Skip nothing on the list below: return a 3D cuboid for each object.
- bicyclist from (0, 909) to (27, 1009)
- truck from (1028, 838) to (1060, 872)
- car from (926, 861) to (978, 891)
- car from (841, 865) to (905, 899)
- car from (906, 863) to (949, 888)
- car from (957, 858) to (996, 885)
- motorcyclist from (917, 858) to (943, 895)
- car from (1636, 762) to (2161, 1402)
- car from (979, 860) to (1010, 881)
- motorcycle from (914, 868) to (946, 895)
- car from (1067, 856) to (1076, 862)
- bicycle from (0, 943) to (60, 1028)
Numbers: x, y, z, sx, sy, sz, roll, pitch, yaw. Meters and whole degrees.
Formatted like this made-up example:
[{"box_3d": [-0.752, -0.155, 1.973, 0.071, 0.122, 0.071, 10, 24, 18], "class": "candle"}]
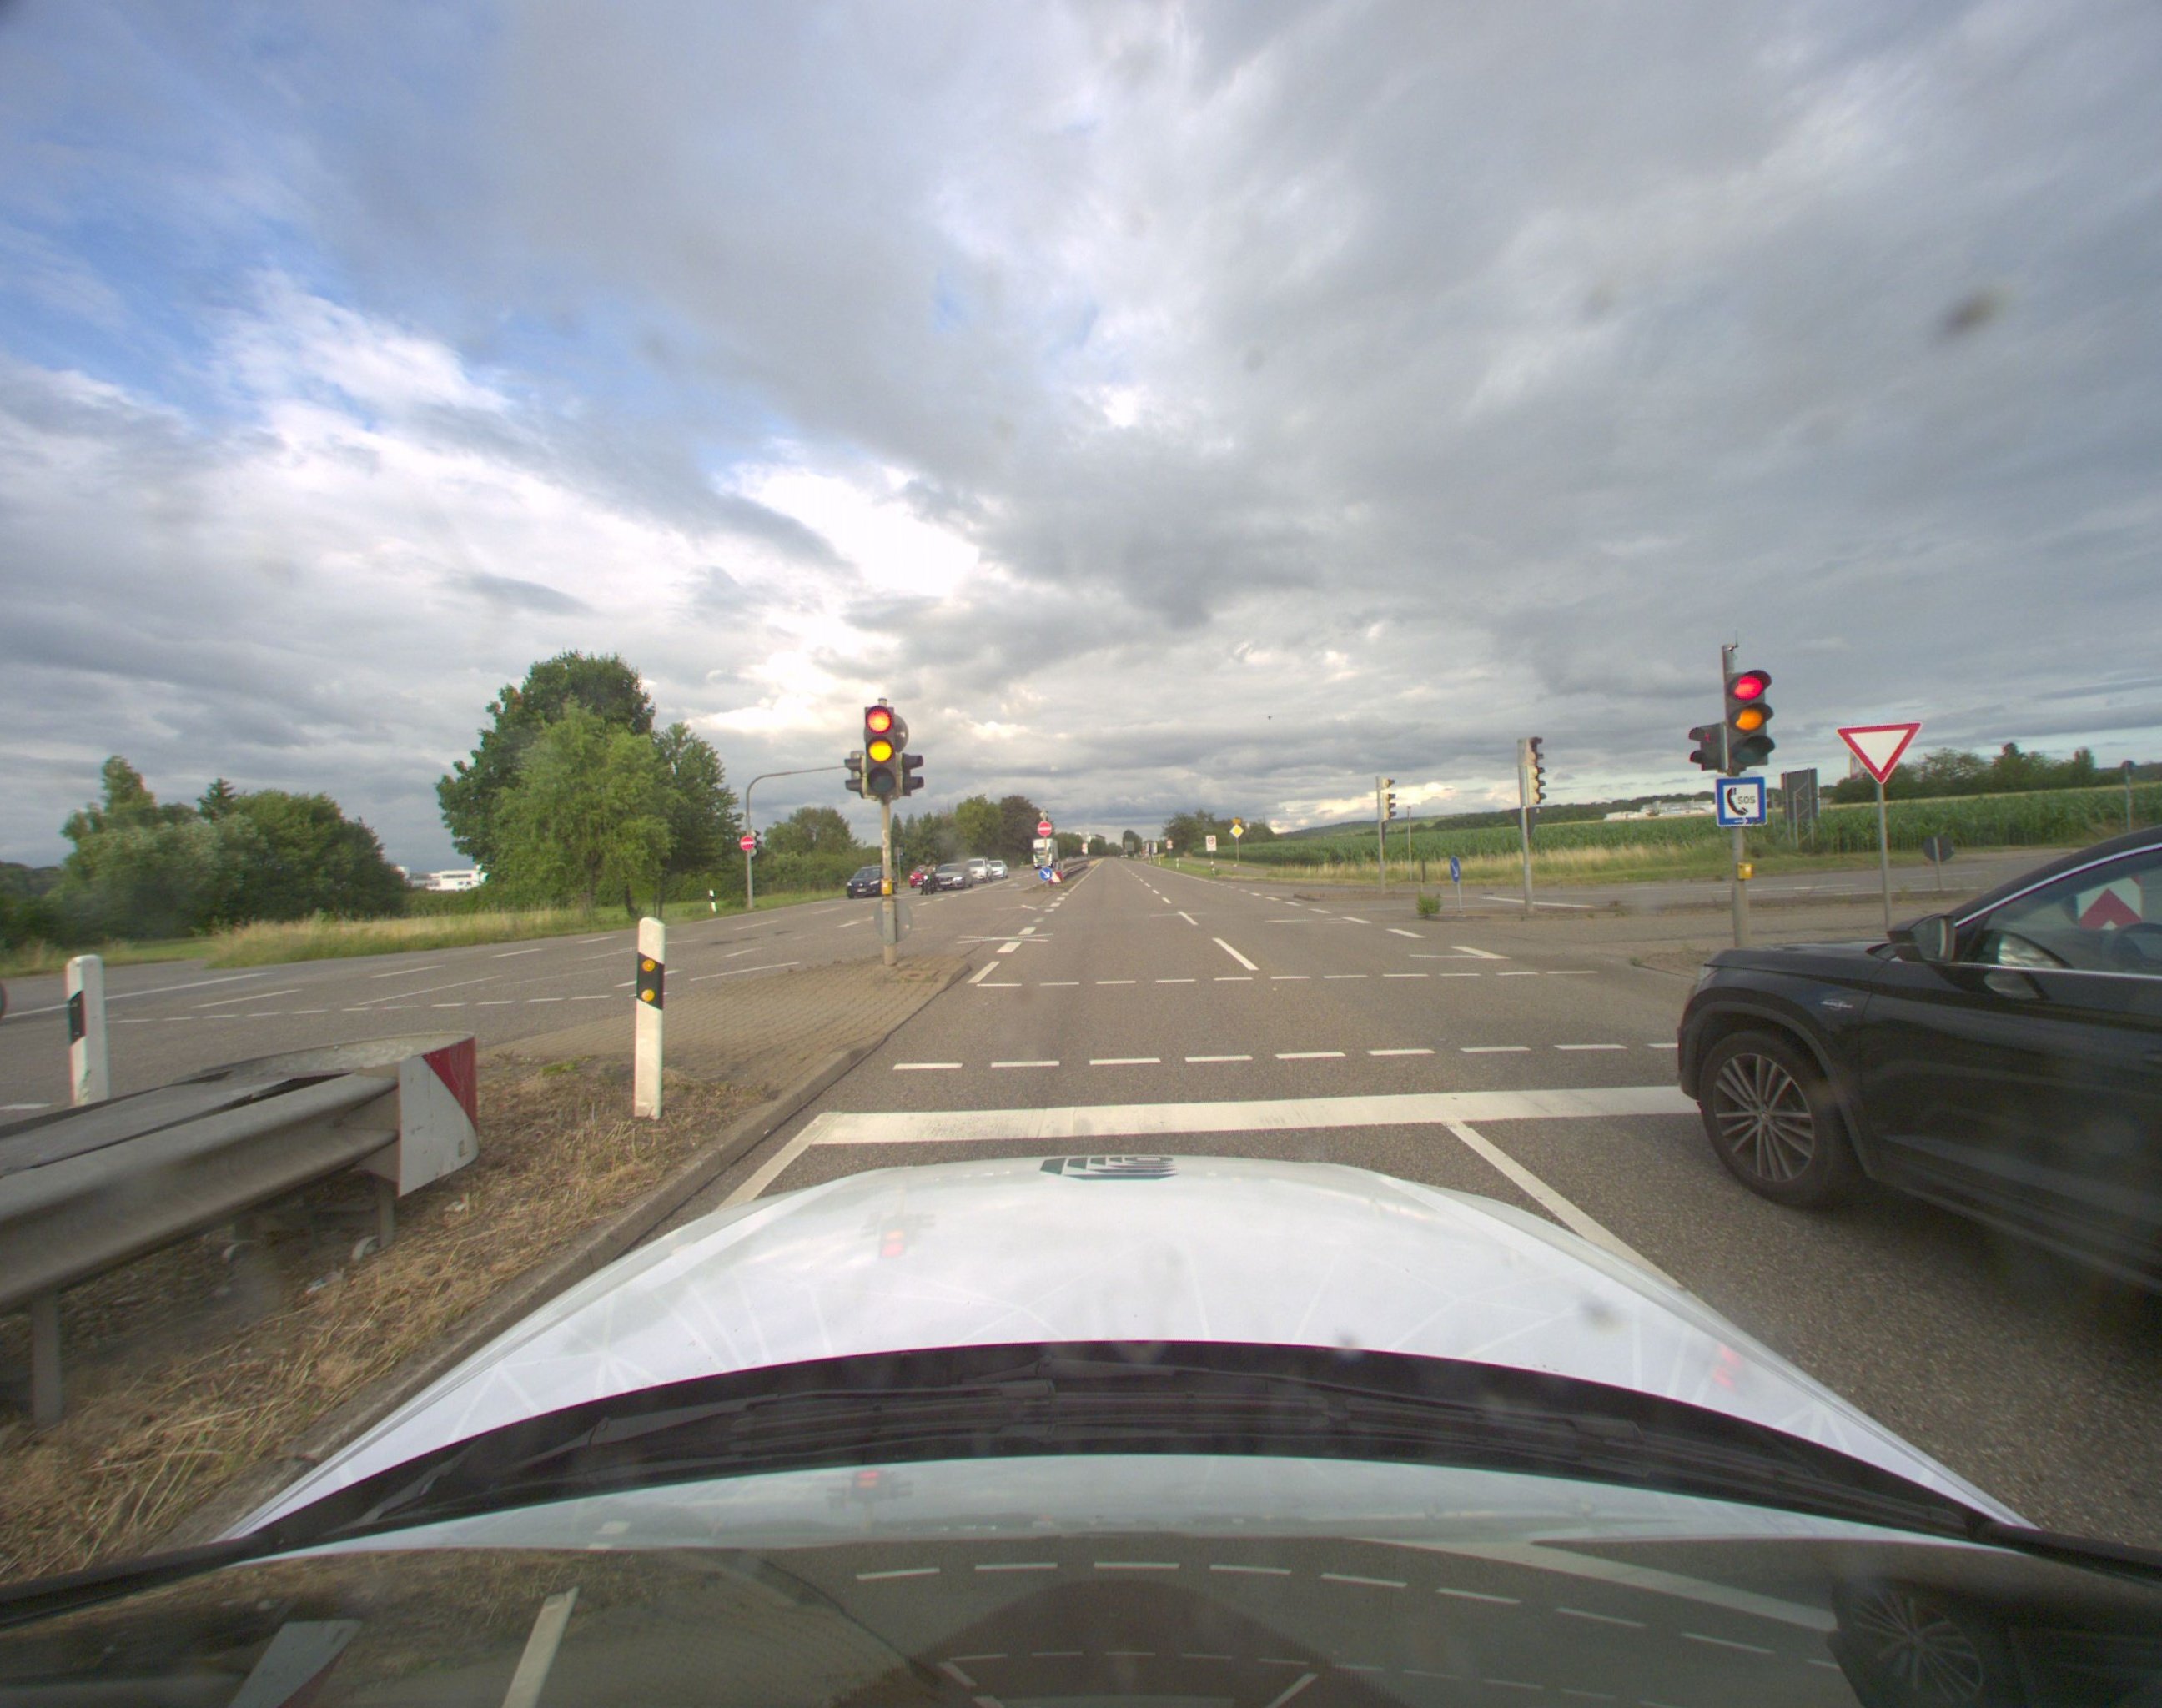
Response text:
[{"box_3d": [-16.557, 1.588, 11.921, 1.216, 1.451, 0.817, -3, 0, 7], "class": "bicyclist"}, {"box_3d": [-4.870, 0.149, 109.141, 3.462, 4.150, 6.052, -4, 0, 2], "class": "truck"}, {"box_3d": [-7.136, 1.204, 45.508, 1.900, 1.428, 5.154, -3, 0, 2], "class": "car"}, {"box_3d": [-10.886, 1.411, 42.989, 1.900, 1.535, 4.940, -3, 0, 2], "class": "car"}, {"box_3d": [-10.358, 1.436, 55.154, 1.900, 1.465, 4.186, -3, 0, 2], "class": "car"}, {"box_3d": [-6.983, 1.122, 54.837, 1.900, 1.610, 4.406, -3, 0, 2], "class": "car"}, {"box_3d": [-7.396, 1.087, 39.957, 0.913, 1.709, 1.276, -3, -1, 2], "class": "motorcyclist"}, {"box_3d": [3.696, 0.582, 1.891, 1.838, 1.650, 4.482, 0, 0, 1], "class": "car"}, {"box_3d": [-6.643, 1.229, 63.043, 1.782, 1.444, 4.162, -3, 0, 2], "class": "car"}, {"box_3d": [-7.391, 1.338, 39.956, 0.913, 1.203, 2.480, -3, -1, 2], "class": "motorcycle"}, {"box_3d": [-2.341, 1.160, 201.187, 1.782, 1.386, 4.162, -3, 0, 2], "class": "car"}, {"box_3d": [-16.506, 1.959, 11.922, 2.307, 1.137, 0.817, -3, 0, 7], "class": "bicycle"}]
